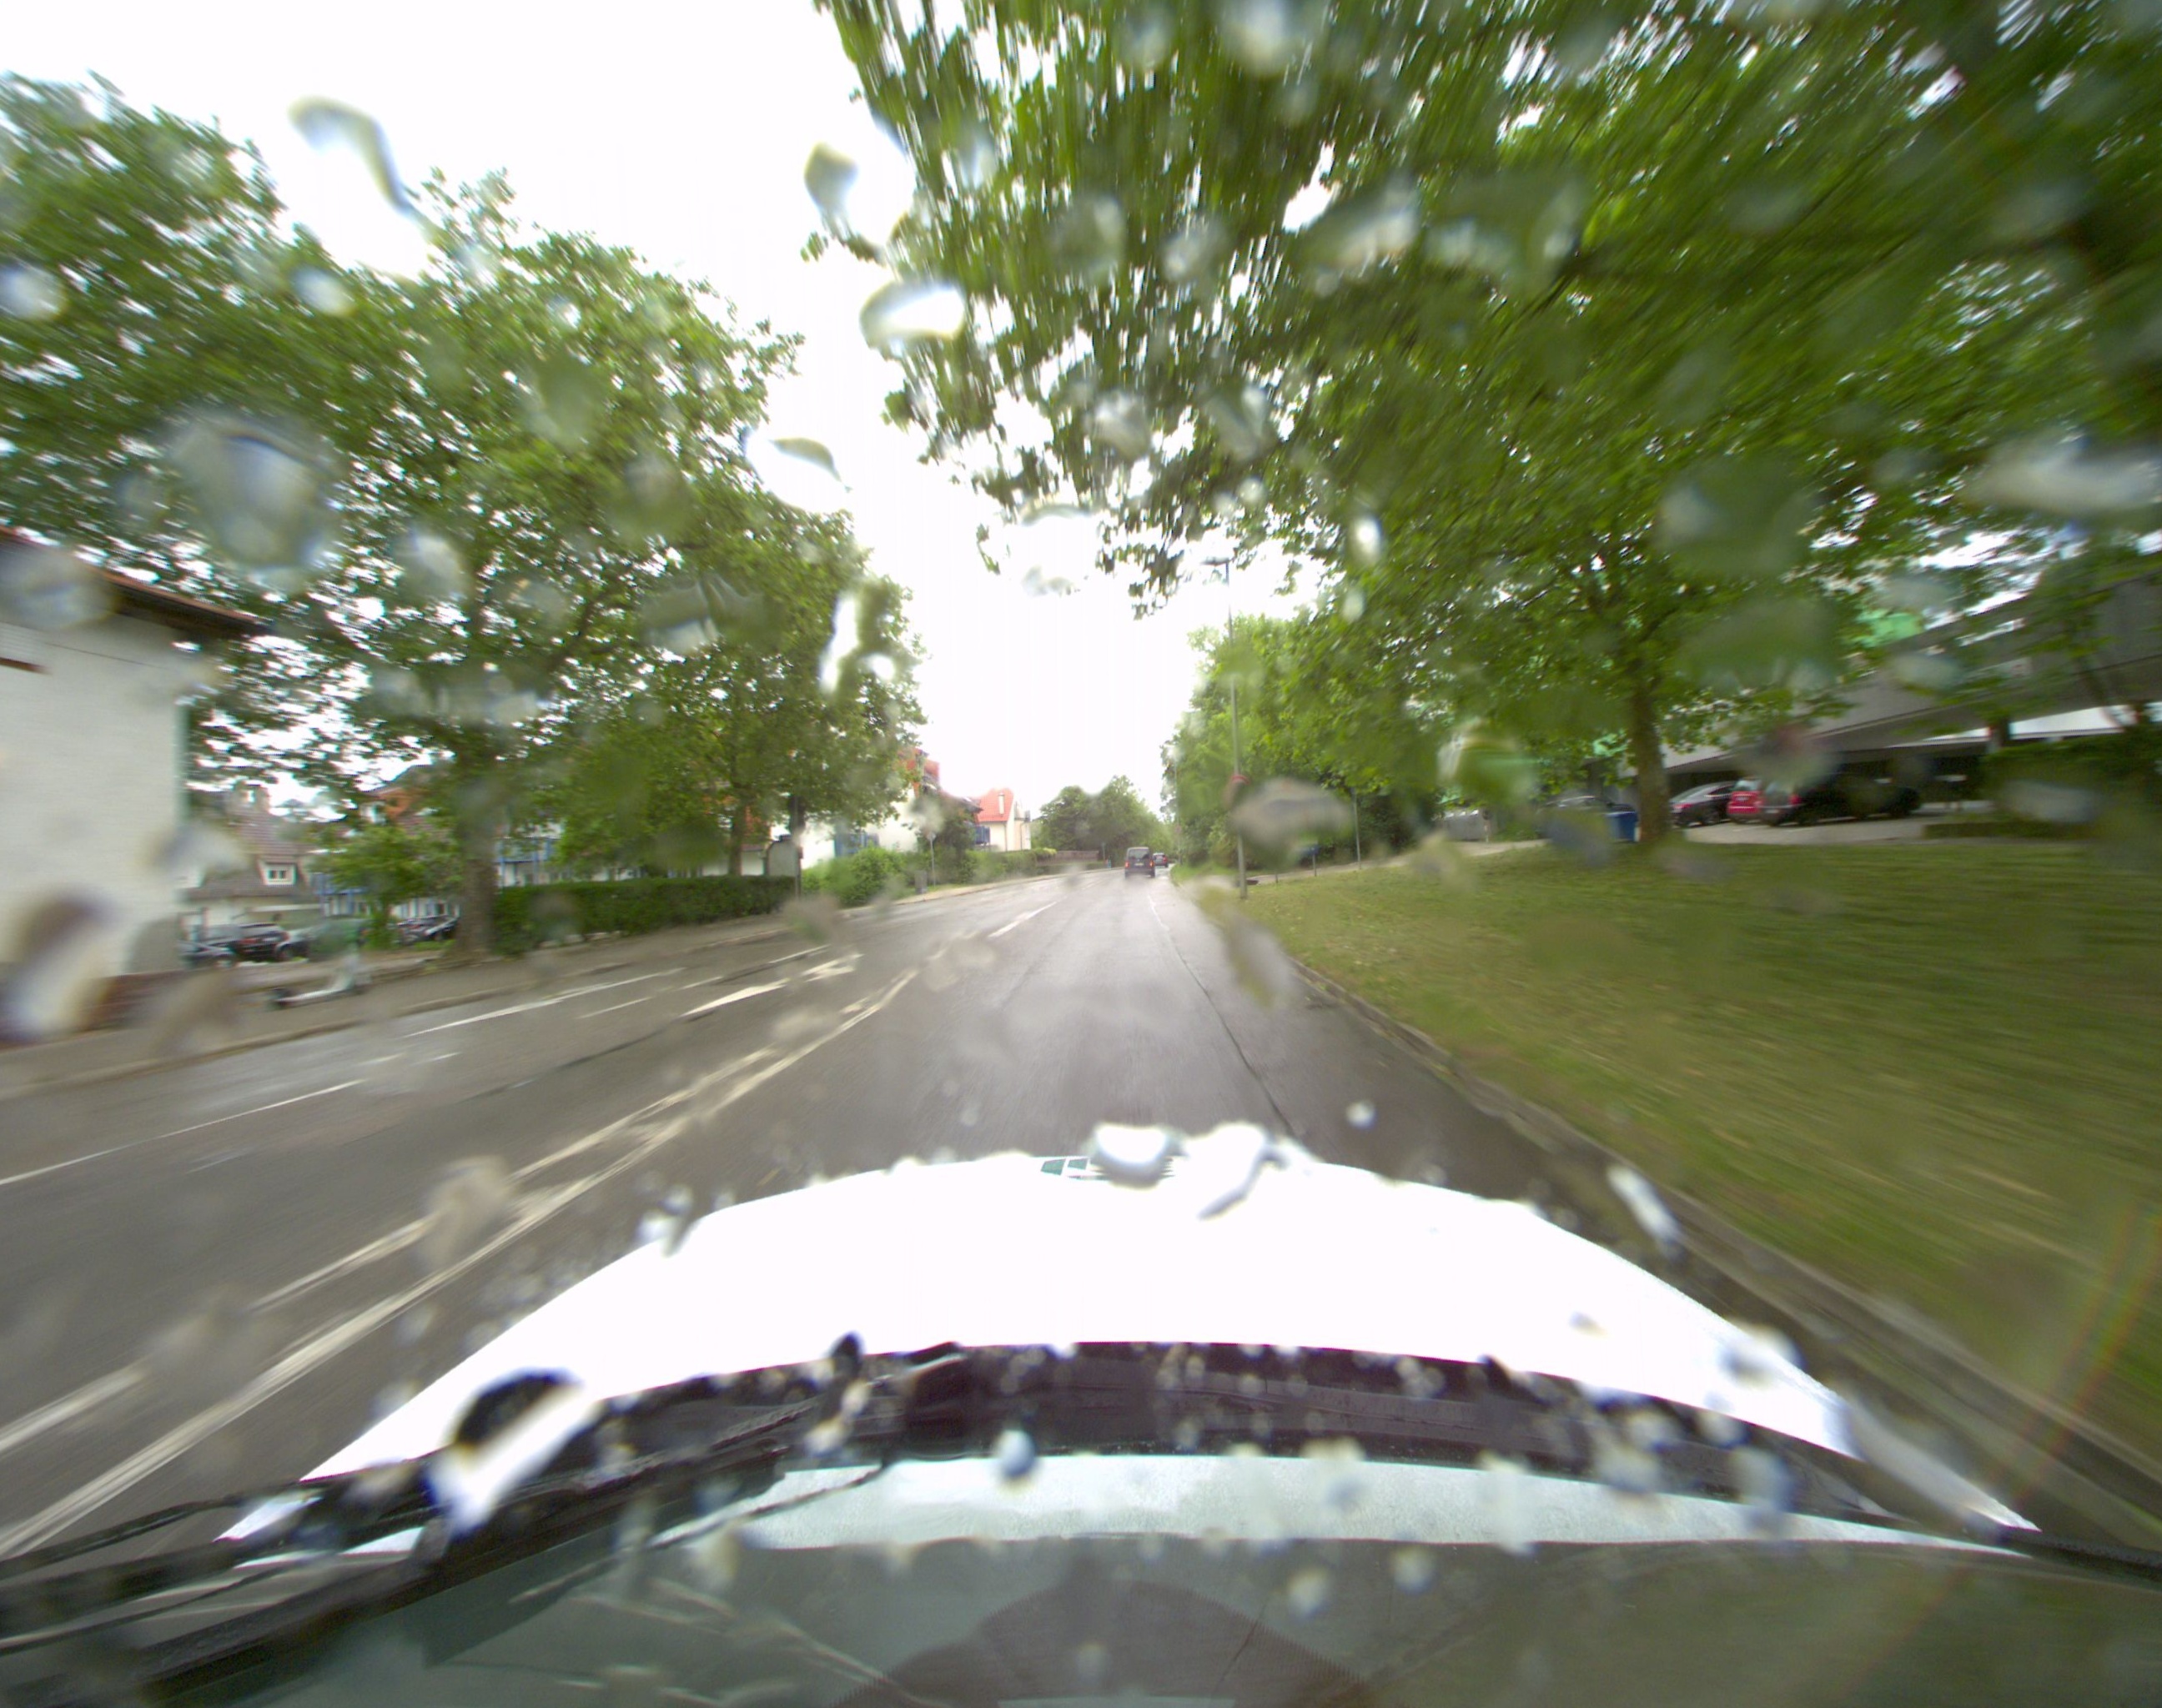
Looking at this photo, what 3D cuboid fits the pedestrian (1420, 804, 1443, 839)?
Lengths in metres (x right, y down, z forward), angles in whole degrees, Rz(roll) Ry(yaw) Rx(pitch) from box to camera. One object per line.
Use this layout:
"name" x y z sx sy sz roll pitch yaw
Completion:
"pedestrian" 18.133 -1.675 42.156 0.663 1.750 0.846 -3 0 -14

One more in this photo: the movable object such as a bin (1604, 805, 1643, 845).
"movable object such as a bin" 15.562 -0.833 23.367 0.666 1.120 0.662 0 -1 -2

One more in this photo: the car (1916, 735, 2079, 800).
"car" 37.242 -3.483 33.198 3.964 2.013 2.005 -6 0 8

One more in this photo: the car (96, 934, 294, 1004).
"car" -29.334 3.753 27.179 1.985 1.585 4.003 -5 0 3

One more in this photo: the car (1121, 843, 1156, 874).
"car" 3.464 0.269 49.619 1.986 1.793 4.002 0 1 2

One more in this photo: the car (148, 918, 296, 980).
"car" -33.824 3.713 32.132 3.970 1.863 1.740 -6 0 3

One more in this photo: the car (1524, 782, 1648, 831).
"car" 21.364 -1.977 34.561 3.979 1.750 1.997 -3 0 -4

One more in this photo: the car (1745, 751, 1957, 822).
"car" 22.131 -1.890 23.585 3.962 1.640 2.006 -3 0 10

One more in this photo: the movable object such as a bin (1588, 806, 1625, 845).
"movable object such as a bin" 15.548 -0.829 24.119 0.666 1.120 0.662 0 -1 -2

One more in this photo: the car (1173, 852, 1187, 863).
"car" 16.375 0.523 134.569 1.985 1.750 4.003 0 0 3

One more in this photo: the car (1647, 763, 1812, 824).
"car" 22.420 -2.056 28.318 3.962 1.750 2.006 -3 0 10

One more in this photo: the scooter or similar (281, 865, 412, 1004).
"scooter or similar" -10.106 1.047 11.269 0.399 1.775 1.513 -2 -1 1

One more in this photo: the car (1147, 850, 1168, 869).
"car" 7.816 0.563 83.242 1.940 1.749 4.008 -3 0 7

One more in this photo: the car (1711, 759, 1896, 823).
"car" 22.877 -1.967 25.938 3.964 1.662 1.964 -3 0 8
